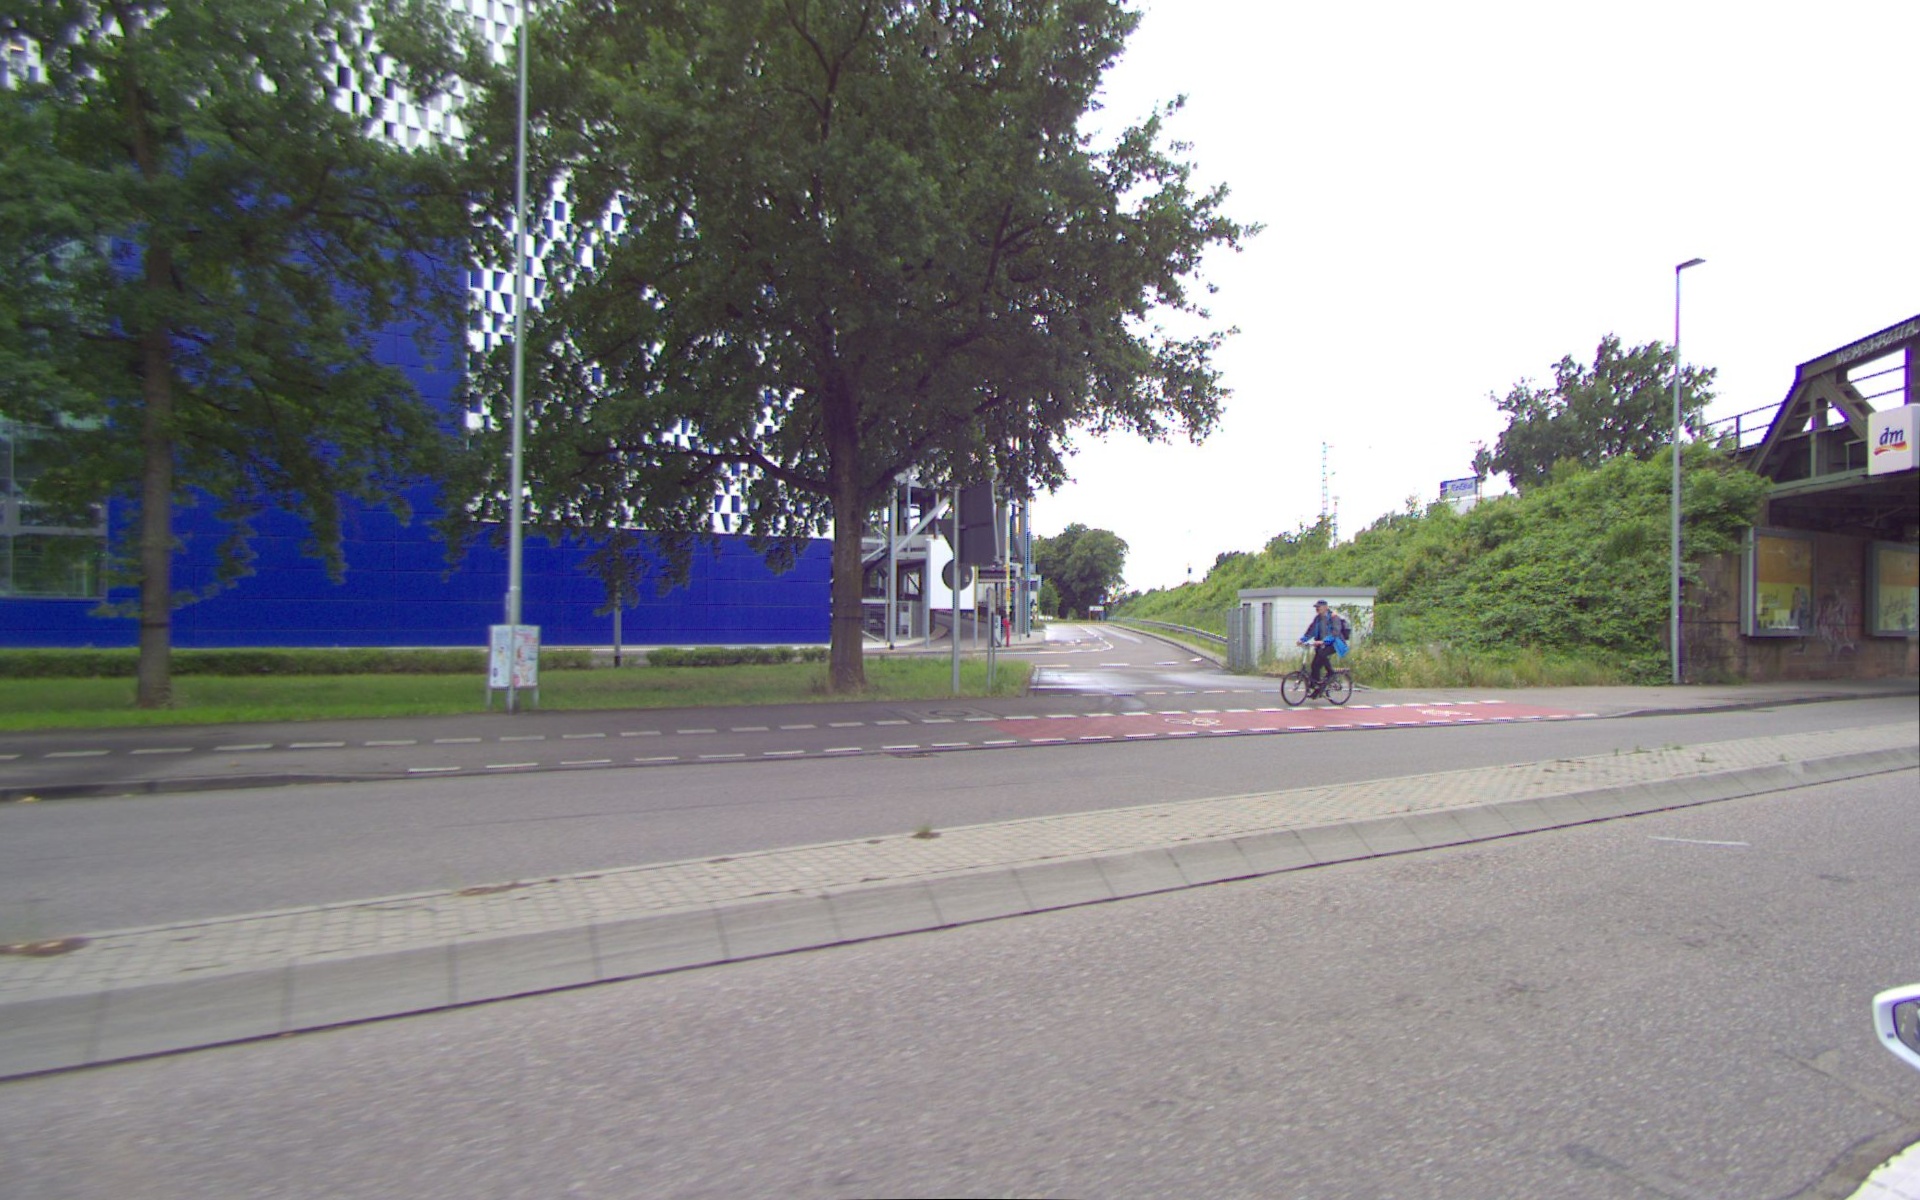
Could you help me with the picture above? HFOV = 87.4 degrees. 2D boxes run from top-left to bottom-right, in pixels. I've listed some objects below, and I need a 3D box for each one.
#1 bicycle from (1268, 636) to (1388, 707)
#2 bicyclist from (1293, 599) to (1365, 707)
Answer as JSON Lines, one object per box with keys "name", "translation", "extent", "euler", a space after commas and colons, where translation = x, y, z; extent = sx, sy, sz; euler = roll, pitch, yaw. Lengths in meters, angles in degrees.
{"name": "bicycle", "translation": [6.711, 1.280, 18.269], "extent": [2.343, 1.202, 0.709], "euler": [2, 0, -30]}
{"name": "bicyclist", "translation": [6.702, 0.949, 18.245], "extent": [1.008, 1.899, 0.698], "euler": [1, 0, -30]}
